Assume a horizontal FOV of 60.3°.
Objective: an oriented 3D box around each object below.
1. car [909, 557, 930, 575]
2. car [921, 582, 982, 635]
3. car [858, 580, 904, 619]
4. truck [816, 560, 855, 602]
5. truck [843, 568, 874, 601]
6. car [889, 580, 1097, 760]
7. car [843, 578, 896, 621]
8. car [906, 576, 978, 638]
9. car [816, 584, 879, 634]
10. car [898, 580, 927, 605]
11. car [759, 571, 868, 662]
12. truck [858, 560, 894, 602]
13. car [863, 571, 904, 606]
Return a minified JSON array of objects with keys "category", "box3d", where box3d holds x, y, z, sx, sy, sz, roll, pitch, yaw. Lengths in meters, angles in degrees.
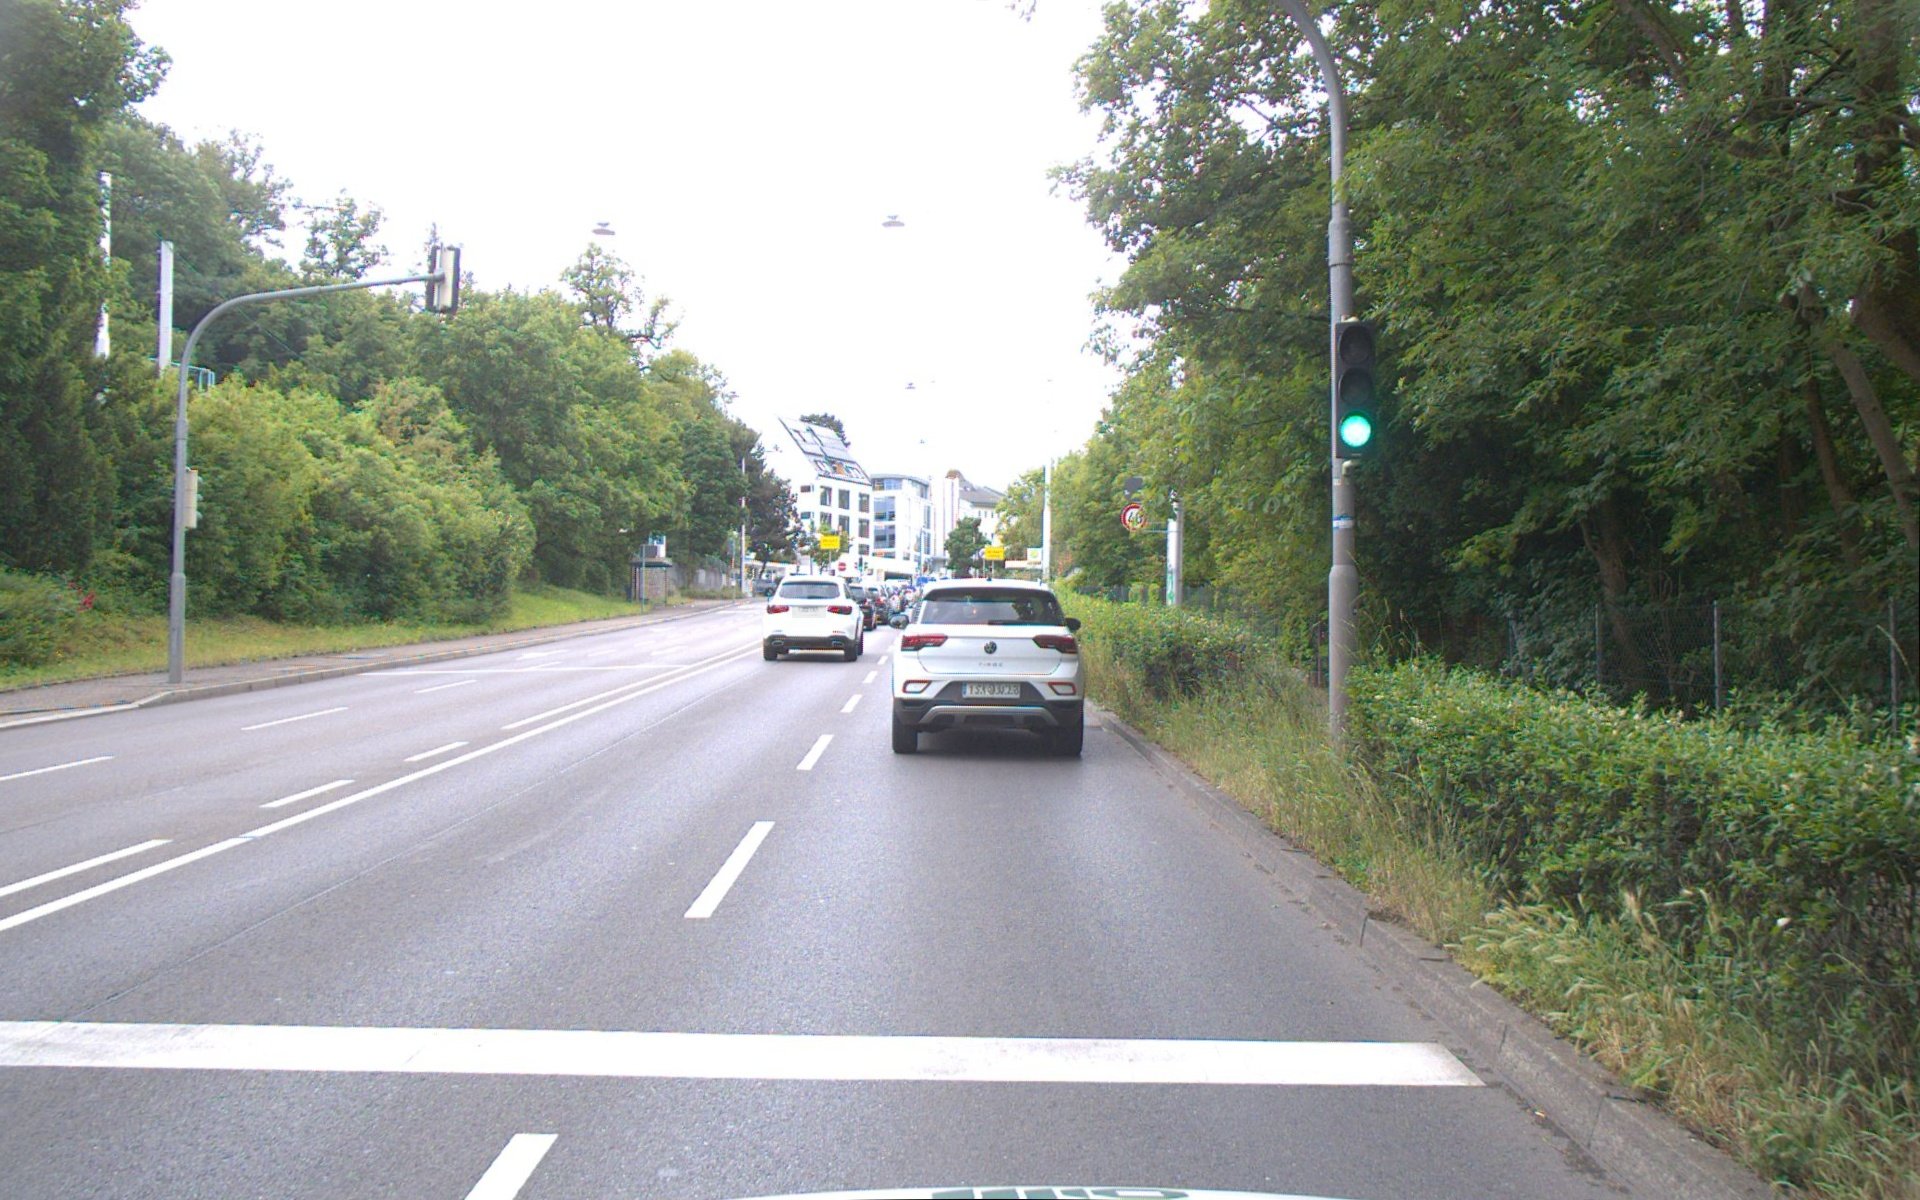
[{"category":"car","box3d":[-3.593,-2.984,147.487,1.792,1.552,3.999,-1,0,-1]},{"category":"car","box3d":[-0.277,0.244,51.347,1.792,1.552,3.999,-1,0,-1]},{"category":"car","box3d":[-3.298,-0.043,69.644,1.792,1.552,3.999,-1,0,-1]},{"category":"truck","box3d":[-8.355,-1.278,111.358,2.314,2.753,4.477,-1,1,-1]},{"category":"truck","box3d":[-9.797,-1.490,160.607,2.245,3.104,6.982,-1,0,3]},{"category":"car","box3d":[0.253,0.583,16.234,1.792,1.552,3.999,0,0,-1]},{"category":"car","box3d":[-3.351,-0.032,61.994,1.792,1.552,3.999,-1,0,-1]},{"category":"car","box3d":[-0.478,0.154,43.715,1.792,1.552,3.999,-1,0,-1]},{"category":"car","box3d":[-3.615,0.257,53.685,1.792,1.523,3.999,-1,0,-1]},{"category":"car","box3d":[-3.081,-0.503,107.501,1.792,1.552,3.999,-1,0,-1]},{"category":"car","box3d":[-2.879,0.297,33.338,1.879,1.698,3.999,1,0,-1]},{"category":"truck","box3d":[-5.857,-1.363,115.985,2.314,2.830,4.477,-1,1,-1]},{"category":"car","box3d":[-3.538,-0.533,77.268,1.792,1.552,3.999,-1,0,-1]}]
